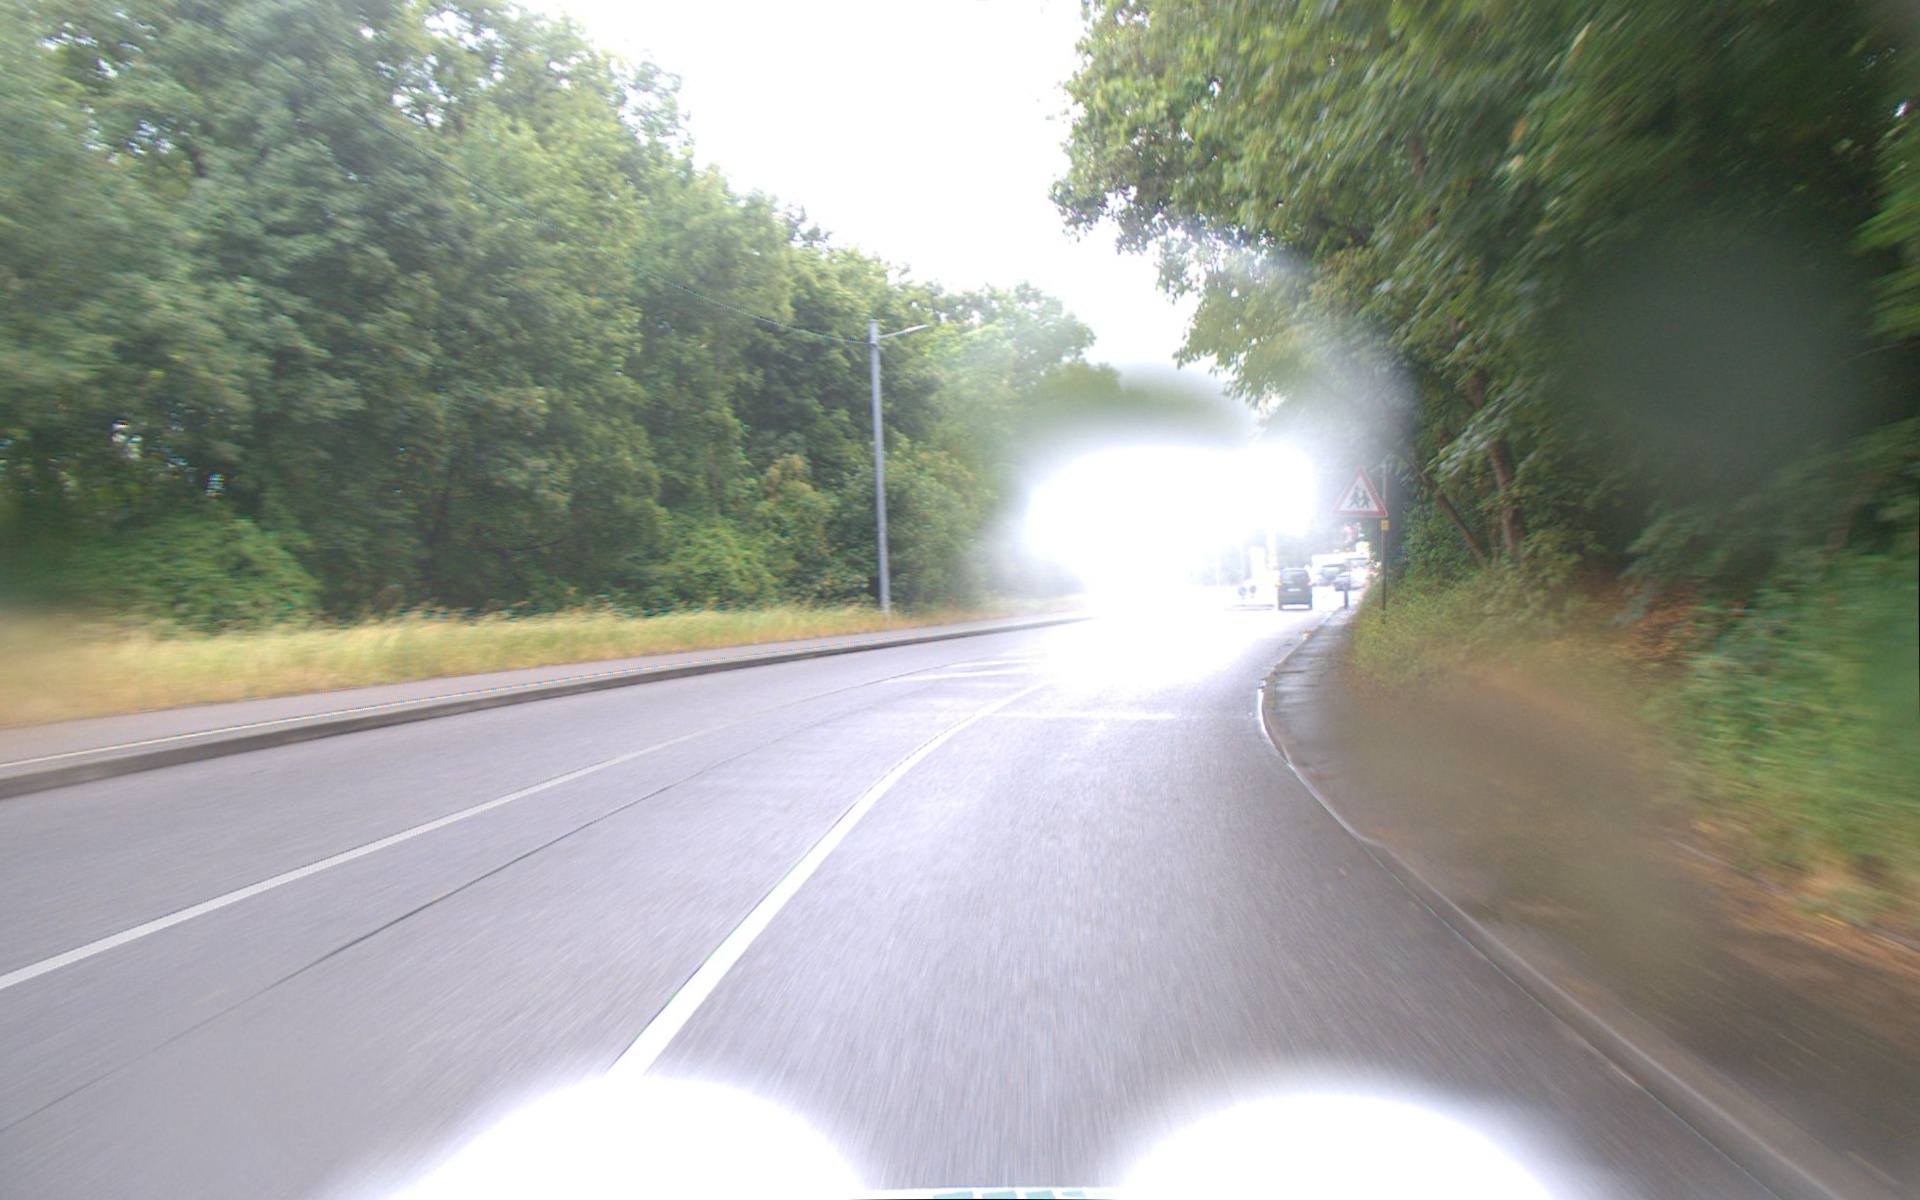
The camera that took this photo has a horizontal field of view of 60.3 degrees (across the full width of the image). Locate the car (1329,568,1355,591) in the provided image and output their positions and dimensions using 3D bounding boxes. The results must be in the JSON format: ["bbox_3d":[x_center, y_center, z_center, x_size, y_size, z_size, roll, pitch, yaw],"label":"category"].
[{"bbox_3d":[31.047,-1.646,134.429,1.951,1.803,4.118,0,1,15],"label":"car"}]

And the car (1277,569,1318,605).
[{"bbox_3d":[15.694,-0.626,76.778,1.632,1.621,3.686,-1,1,15],"label":"car"}]

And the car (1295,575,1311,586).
[{"bbox_3d":[49.419,-2.808,238.355,1.704,1.579,3.856,0,0,1],"label":"car"}]
